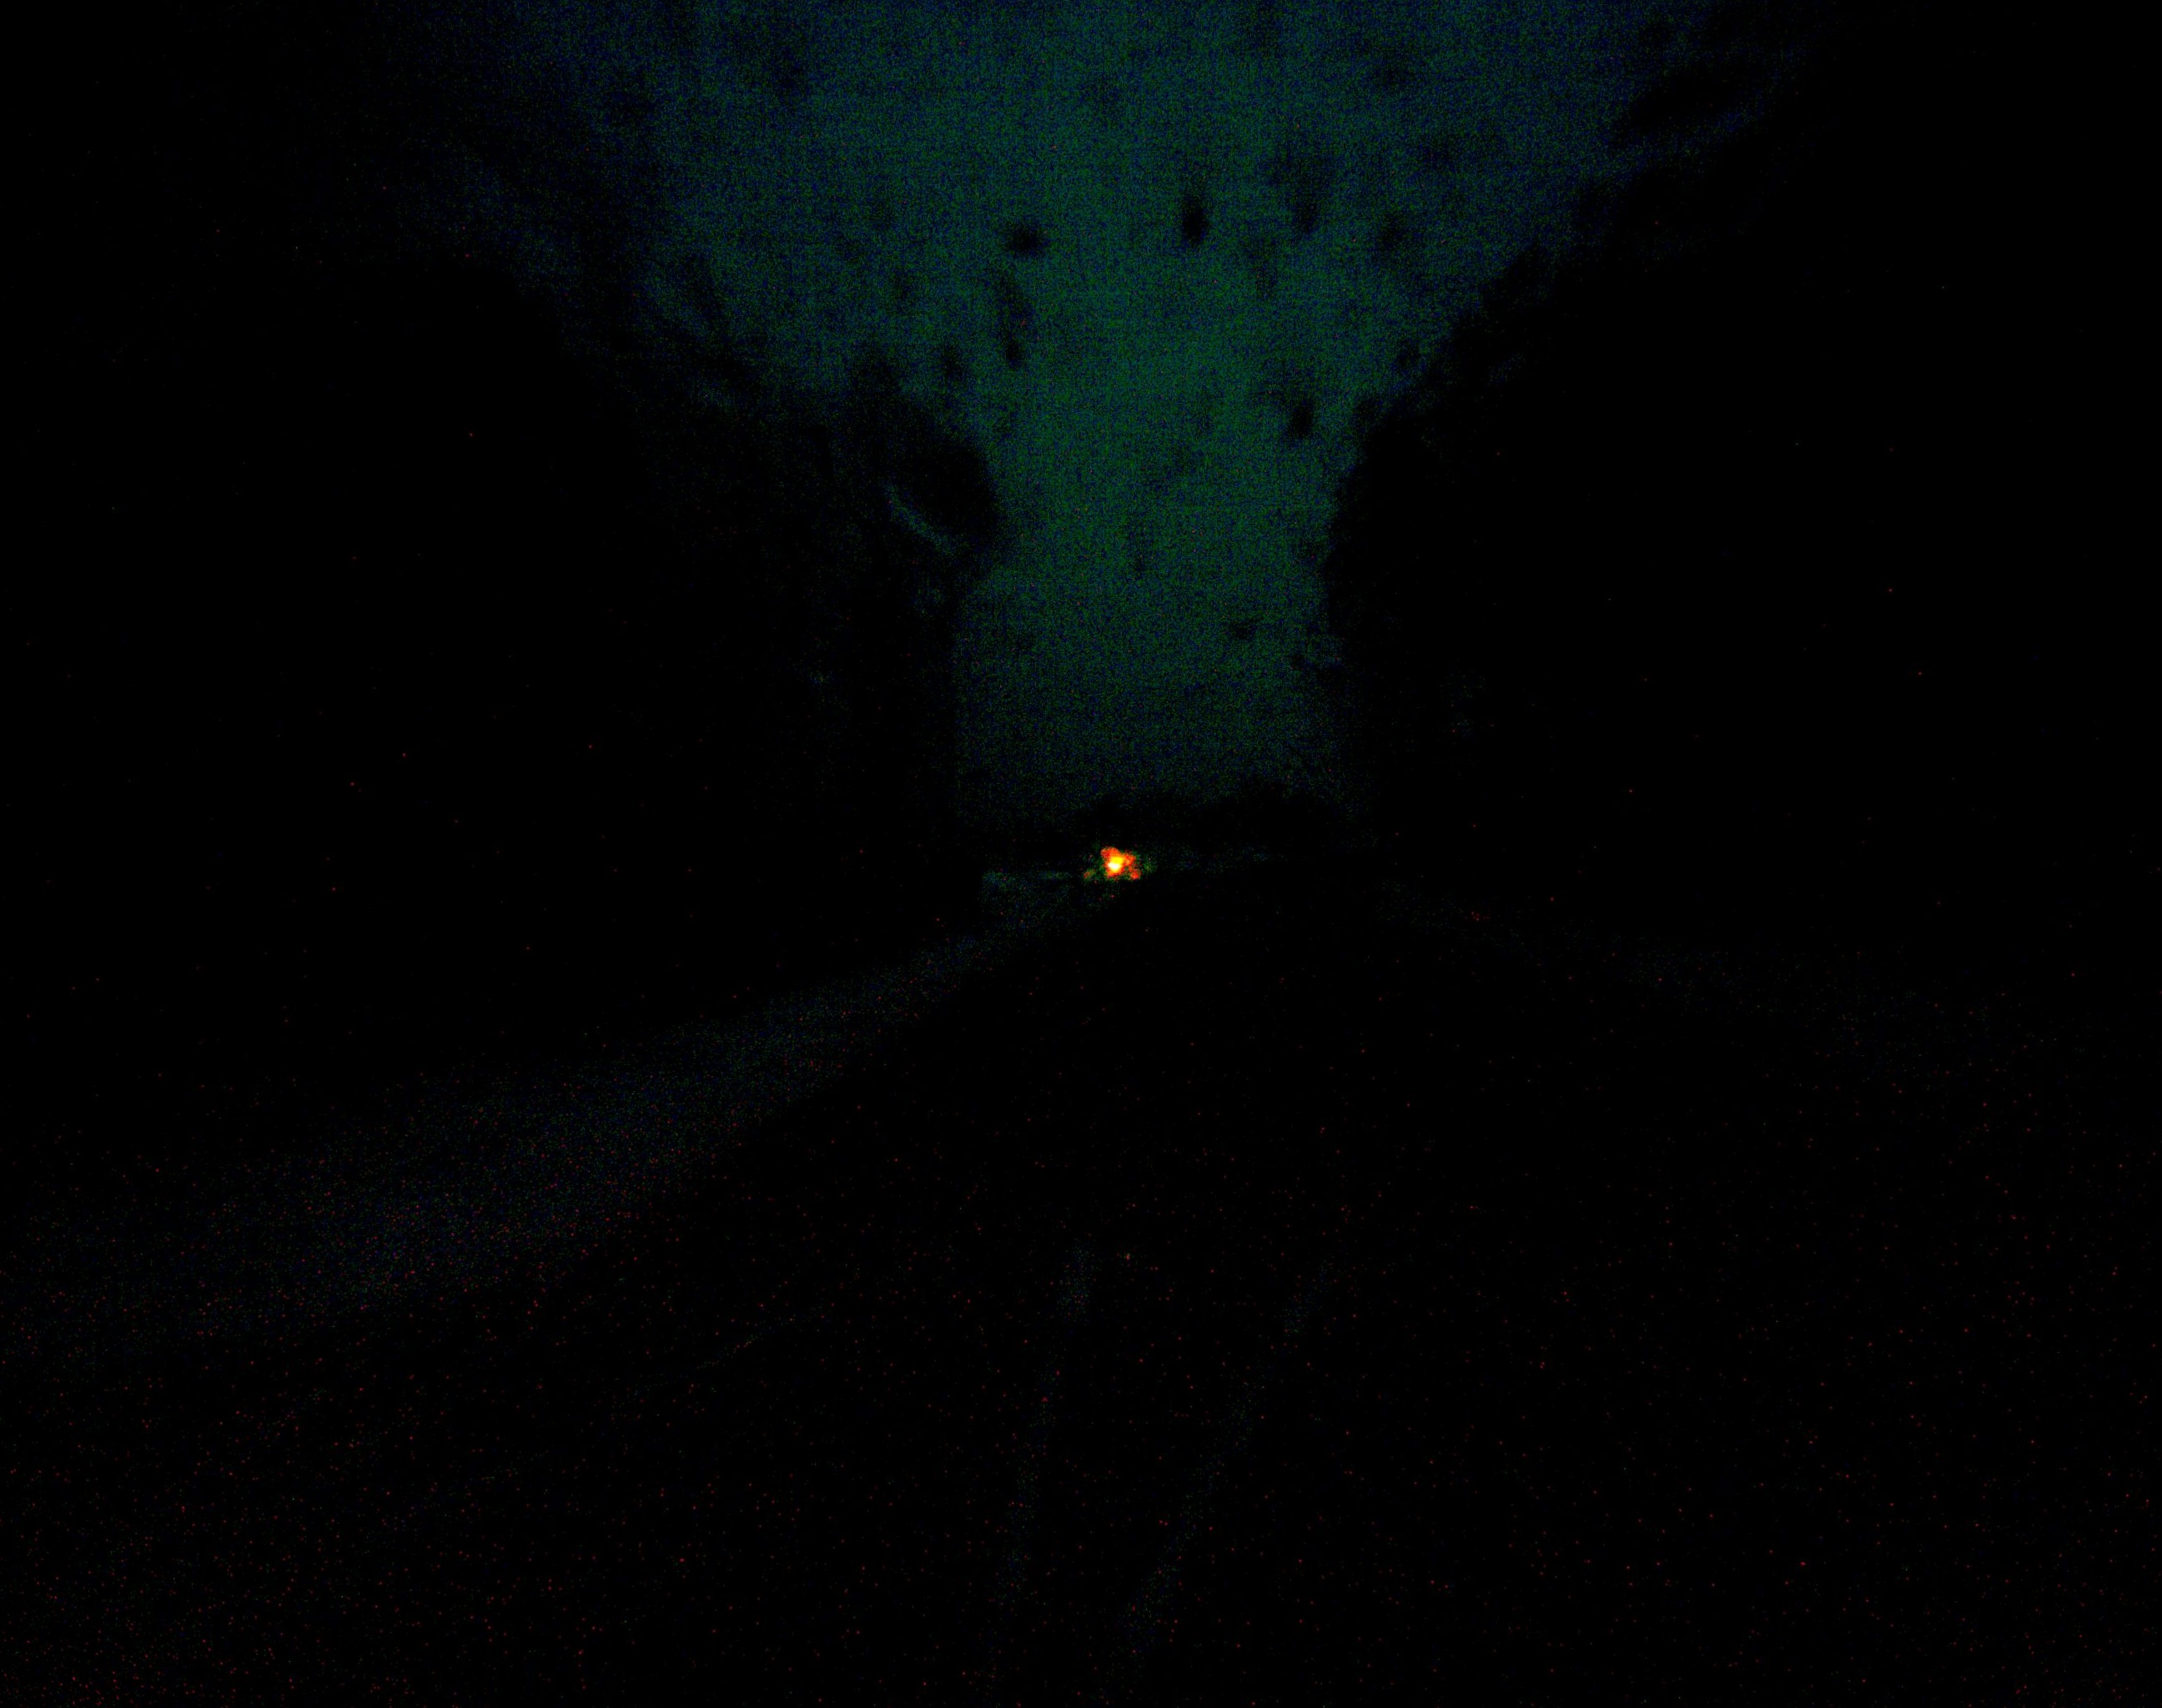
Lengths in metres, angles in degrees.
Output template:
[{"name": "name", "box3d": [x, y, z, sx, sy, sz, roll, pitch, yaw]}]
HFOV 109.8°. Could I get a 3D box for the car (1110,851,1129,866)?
[{"name": "car", "box3d": [5.818, 0.655, 115.014, 2.000, 2.002, 3.996, -6, 2, -8]}]
